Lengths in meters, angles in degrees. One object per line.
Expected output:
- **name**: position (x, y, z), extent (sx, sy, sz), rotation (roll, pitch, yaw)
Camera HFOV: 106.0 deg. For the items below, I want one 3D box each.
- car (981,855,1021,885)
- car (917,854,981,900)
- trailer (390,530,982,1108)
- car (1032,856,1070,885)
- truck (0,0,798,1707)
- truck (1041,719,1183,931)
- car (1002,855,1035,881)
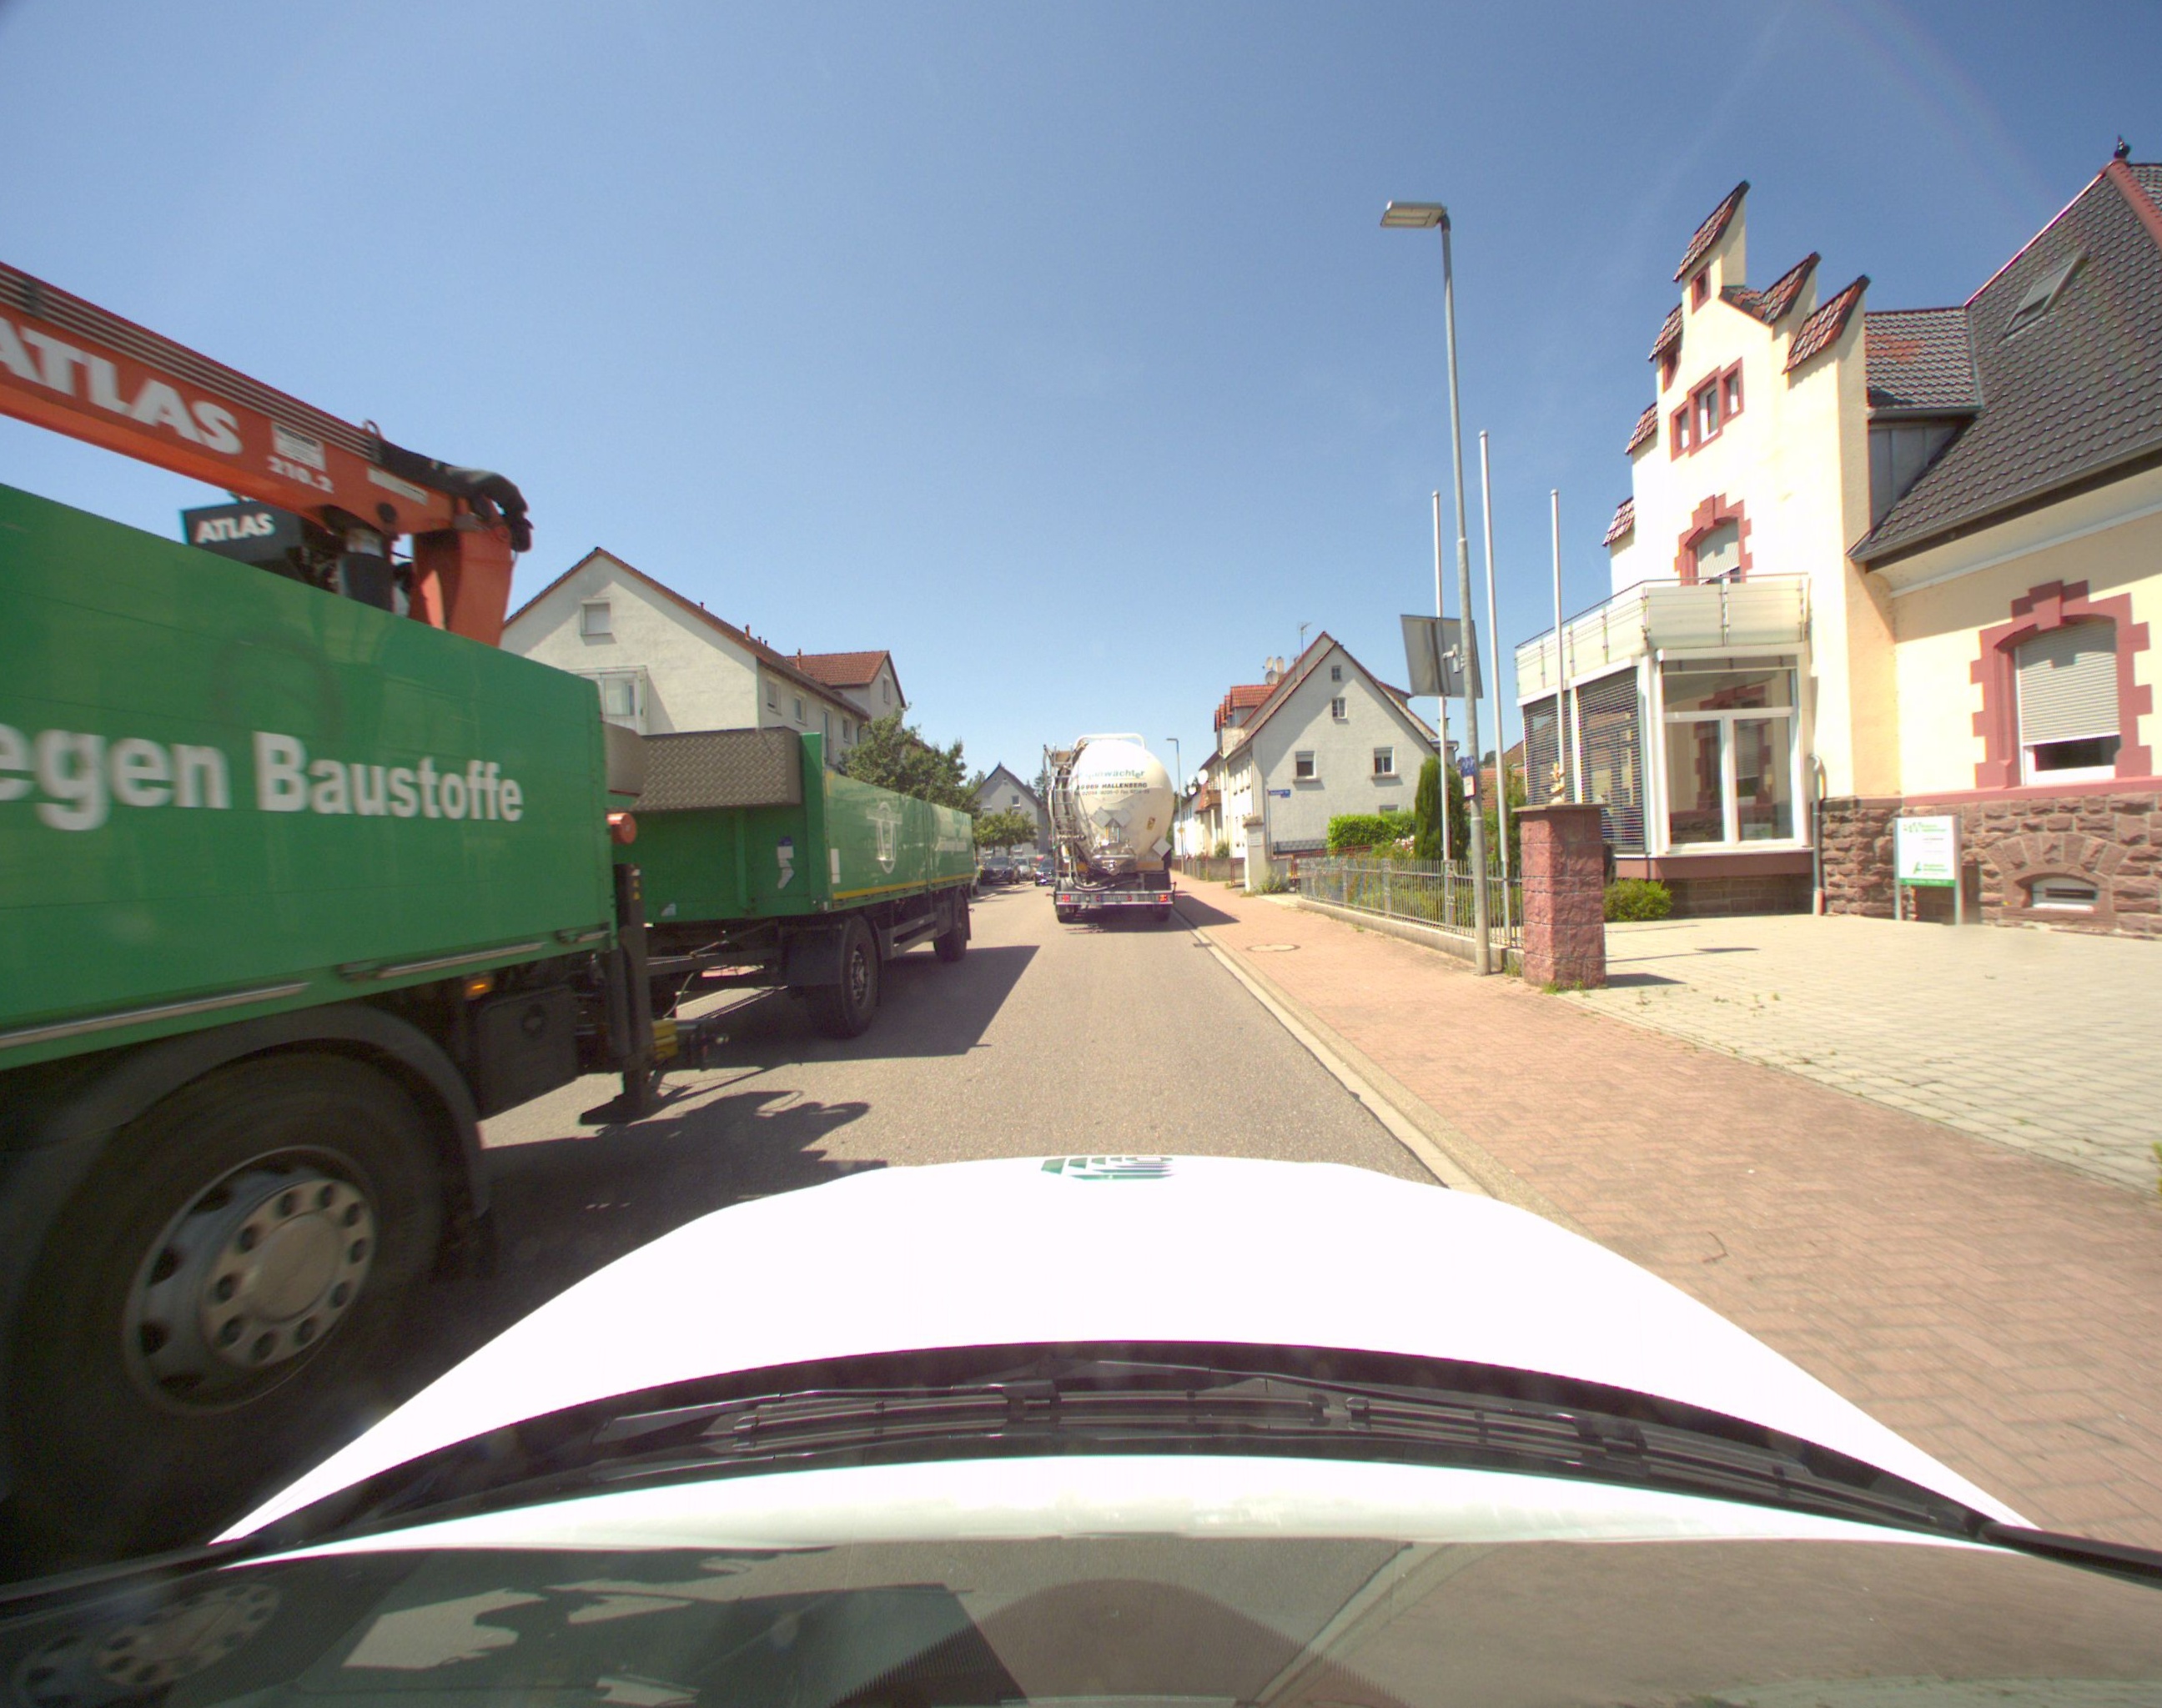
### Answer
- **car**: position (-4.611, 0.884, 47.198), extent (1.685, 1.620, 4.000), rotation (-1, 0, 3)
- **car**: position (-5.240, 0.853, 32.910), extent (1.700, 1.686, 4.527), rotation (-1, 0, 1)
- **trailer**: position (-3.088, -0.235, 9.531), extent (2.521, 3.649, 8.463), rotation (-3, 0, 1)
- **car**: position (-1.623, 0.899, 45.679), extent (1.724, 1.460, 4.696), rotation (-3, 0, 2)
- **truck**: position (-3.274, -0.252, 0.153), extent (2.558, 3.700, 10.080), rotation (-3, 0, 1)
- **truck**: position (0.702, -0.552, 20.357), extent (2.631, 4.016, 9.563), rotation (-1, 0, 1)
- **car**: position (-4.105, 0.890, 53.895), extent (1.691, 1.581, 3.839), rotation (-1, 0, 2)
